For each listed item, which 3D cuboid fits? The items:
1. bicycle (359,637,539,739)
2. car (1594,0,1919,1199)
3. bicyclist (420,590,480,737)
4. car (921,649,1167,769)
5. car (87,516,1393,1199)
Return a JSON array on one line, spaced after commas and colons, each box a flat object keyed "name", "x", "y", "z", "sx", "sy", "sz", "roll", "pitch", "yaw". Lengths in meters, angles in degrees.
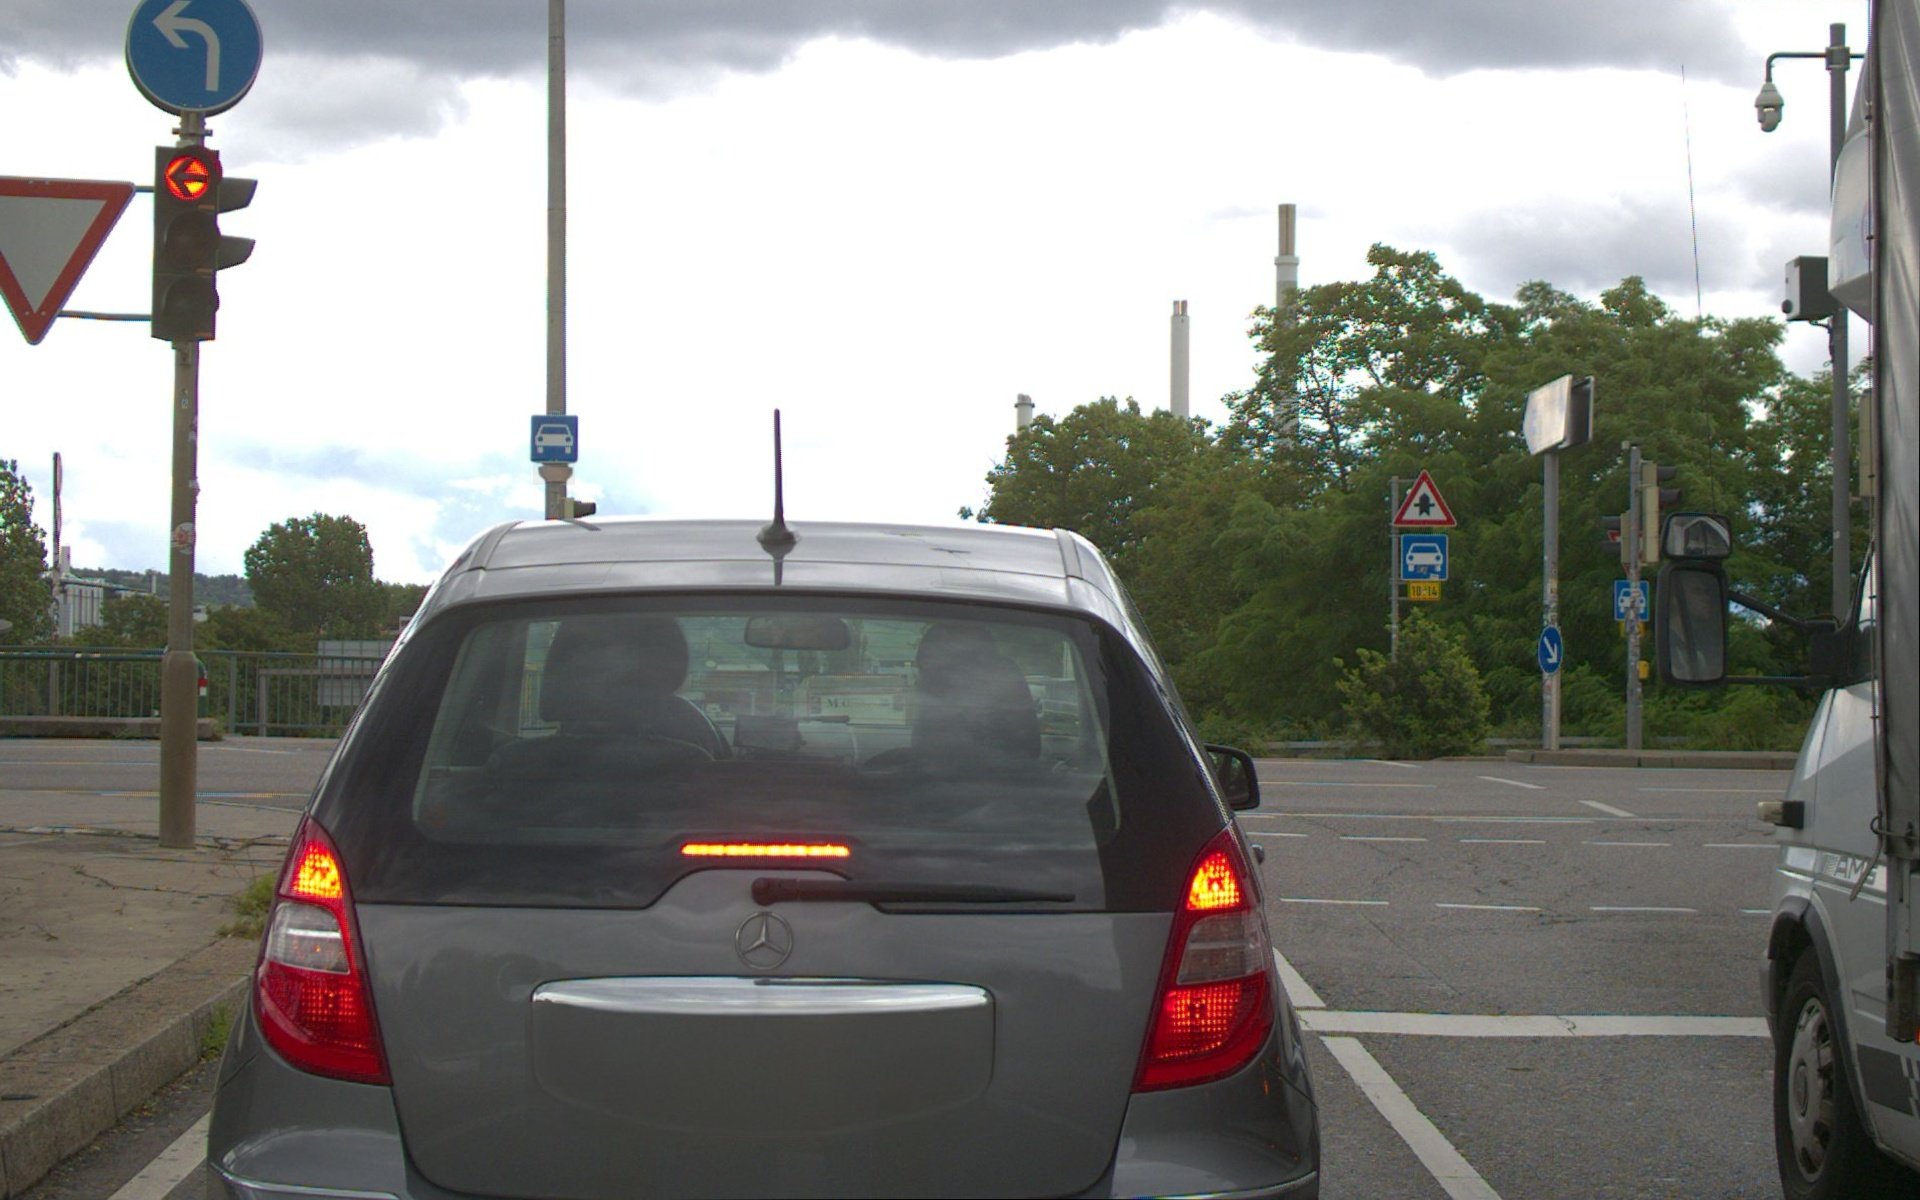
[{"name": "bicycle", "x": -5.965, "y": 1.016, "z": 40.064, "sx": 2.032, "sy": 1.121, "sz": 0.929, "roll": 0, "pitch": 1, "yaw": -11}, {"name": "car", "x": 2.946, "y": -0.206, "z": 5.036, "sx": 2.659, "sy": 3.318, "sz": 7.091, "roll": 0, "pitch": 0, "yaw": 0}, {"name": "bicyclist", "x": -5.953, "y": 0.731, "z": 40.073, "sx": 0.653, "sy": 1.668, "sz": 0.870, "roll": 0, "pitch": 1, "yaw": -11}, {"name": "car", "x": 1.387, "y": 1.842, "z": 59.598, "sx": 1.998, "sy": 1.765, "sz": 5.241, "roll": -1, "pitch": 1, "yaw": -27}, {"name": "car", "x": -0.264, "y": 0.634, "z": 6.899, "sx": 1.858, "sy": 1.583, "sz": 4.000, "roll": 0, "pitch": 2, "yaw": 2}]
